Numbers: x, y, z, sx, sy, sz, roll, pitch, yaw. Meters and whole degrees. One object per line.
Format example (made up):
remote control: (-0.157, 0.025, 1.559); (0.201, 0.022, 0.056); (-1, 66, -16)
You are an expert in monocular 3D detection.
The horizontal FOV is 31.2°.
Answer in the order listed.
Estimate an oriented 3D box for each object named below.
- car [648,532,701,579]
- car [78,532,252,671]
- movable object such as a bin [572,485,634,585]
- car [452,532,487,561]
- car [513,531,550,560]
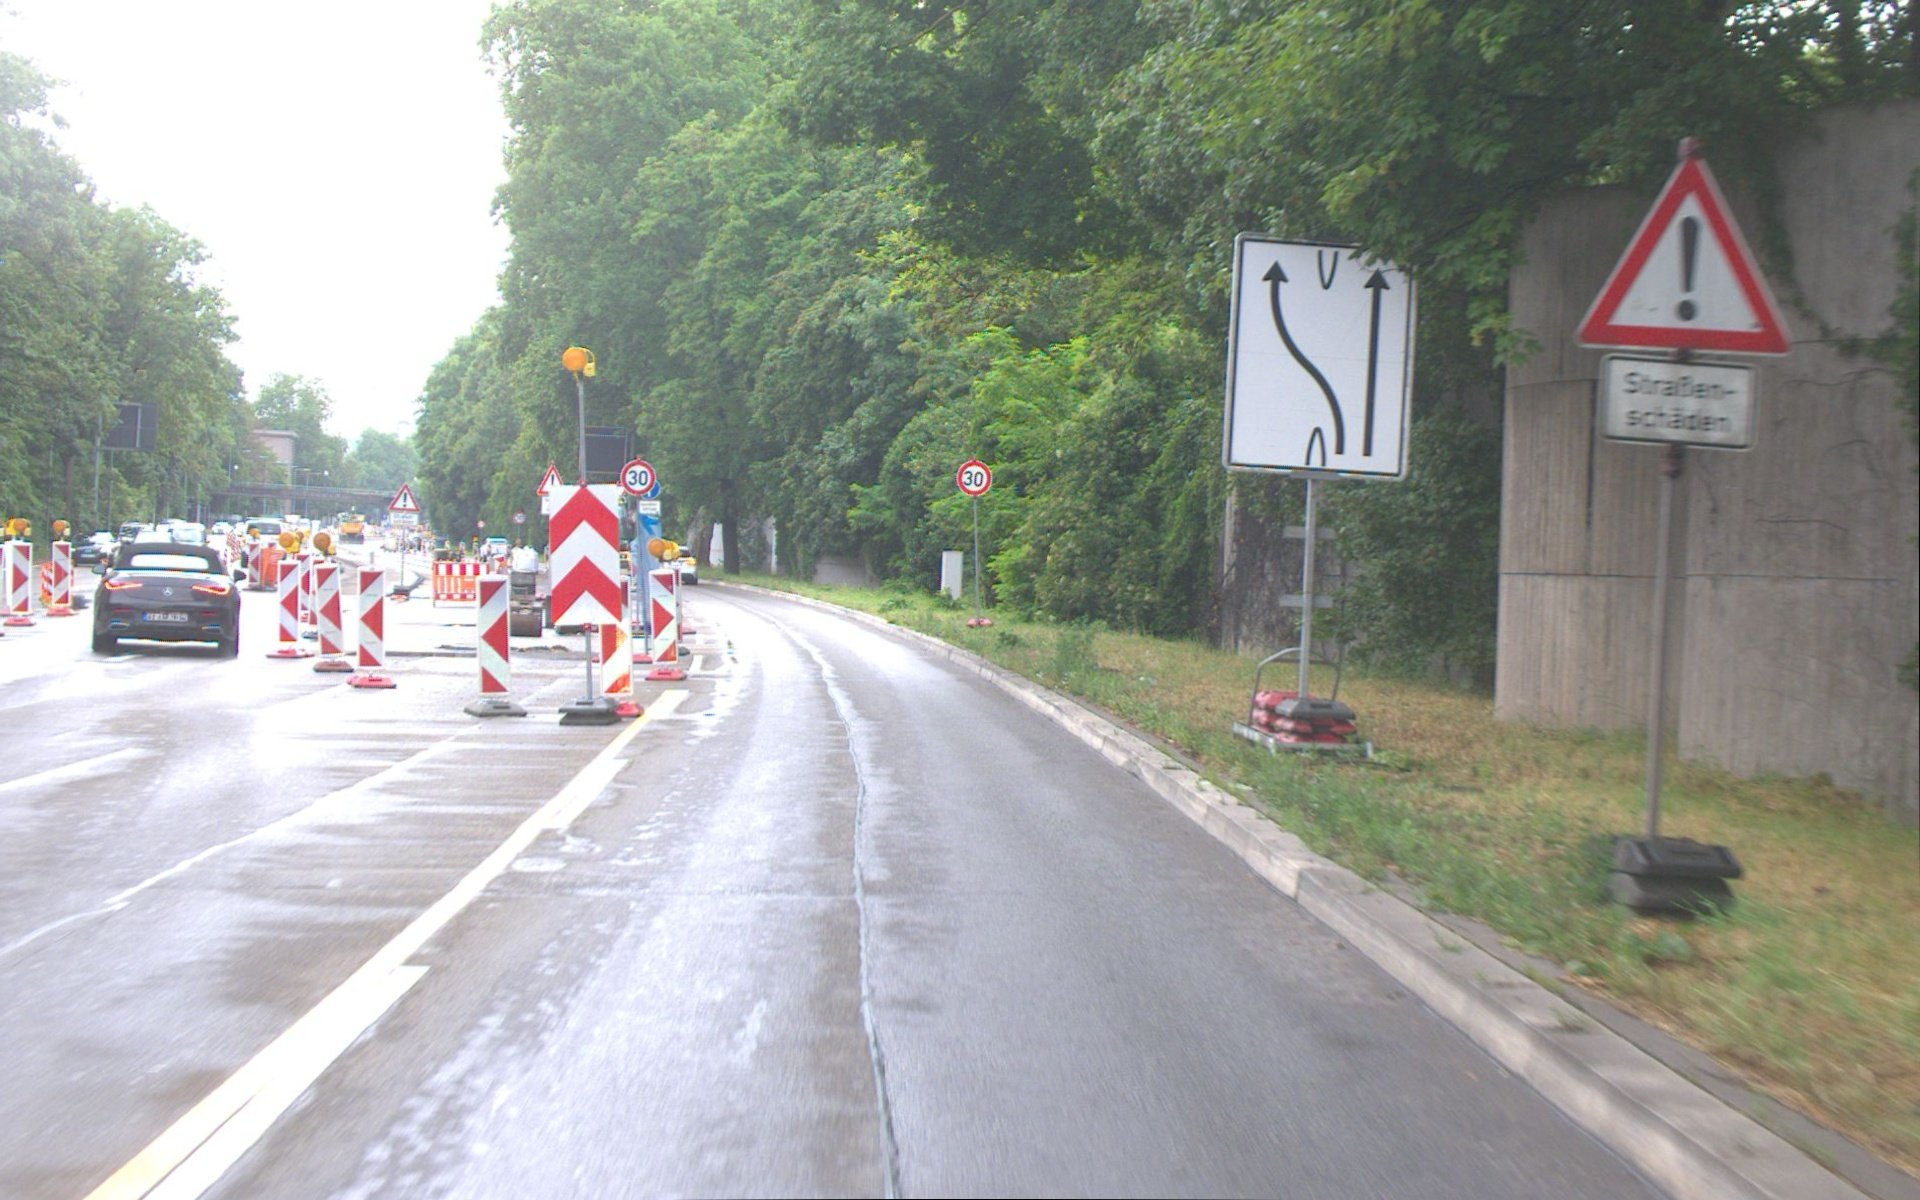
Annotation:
car: (-10.658, -1.665, 128.402); (1.914, 1.592, 4.835); (2, 2, -5)
car: (-10.360, -0.022, 45.048); (1.861, 1.486, 4.002); (3, 3, -9)
movable object such as a bin: (-10.456, -1.892, 100.758); (1.746, 2.857, 3.535); (1, 1, -6)
car: (-31.084, -3.395, 217.827); (1.875, 1.612, 4.001); (4, 1, -5)
car: (-23.175, -2.963, 185.901); (1.756, 1.339, 4.002); (2, 2, -10)
